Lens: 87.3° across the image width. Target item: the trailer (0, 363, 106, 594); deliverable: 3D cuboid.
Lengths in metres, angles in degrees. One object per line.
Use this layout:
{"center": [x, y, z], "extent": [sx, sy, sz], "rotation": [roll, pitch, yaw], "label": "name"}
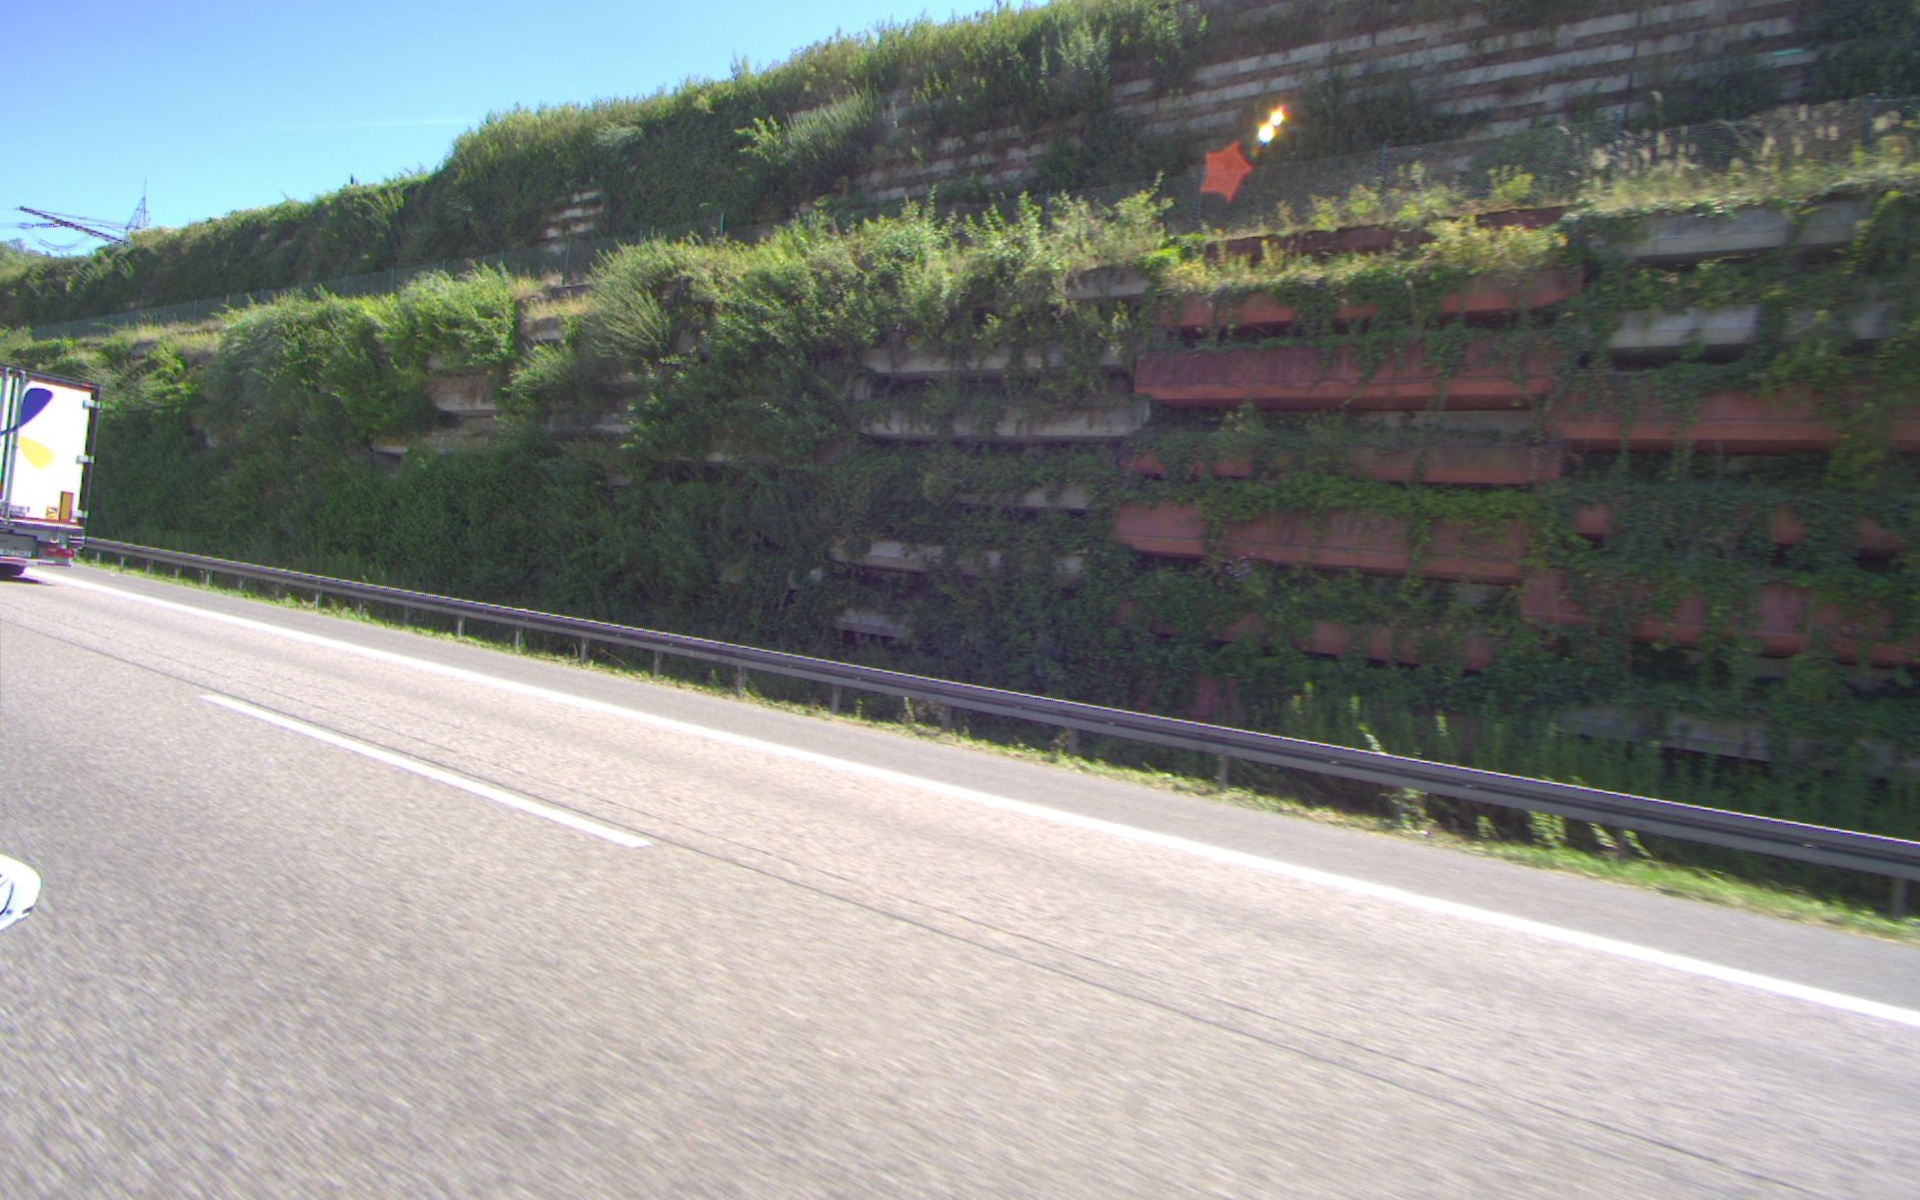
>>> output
{"center": [-22.900, -2.893, 22.012], "extent": [12.164, 4.107, 2.642], "rotation": [7, -2, 33], "label": "trailer"}
